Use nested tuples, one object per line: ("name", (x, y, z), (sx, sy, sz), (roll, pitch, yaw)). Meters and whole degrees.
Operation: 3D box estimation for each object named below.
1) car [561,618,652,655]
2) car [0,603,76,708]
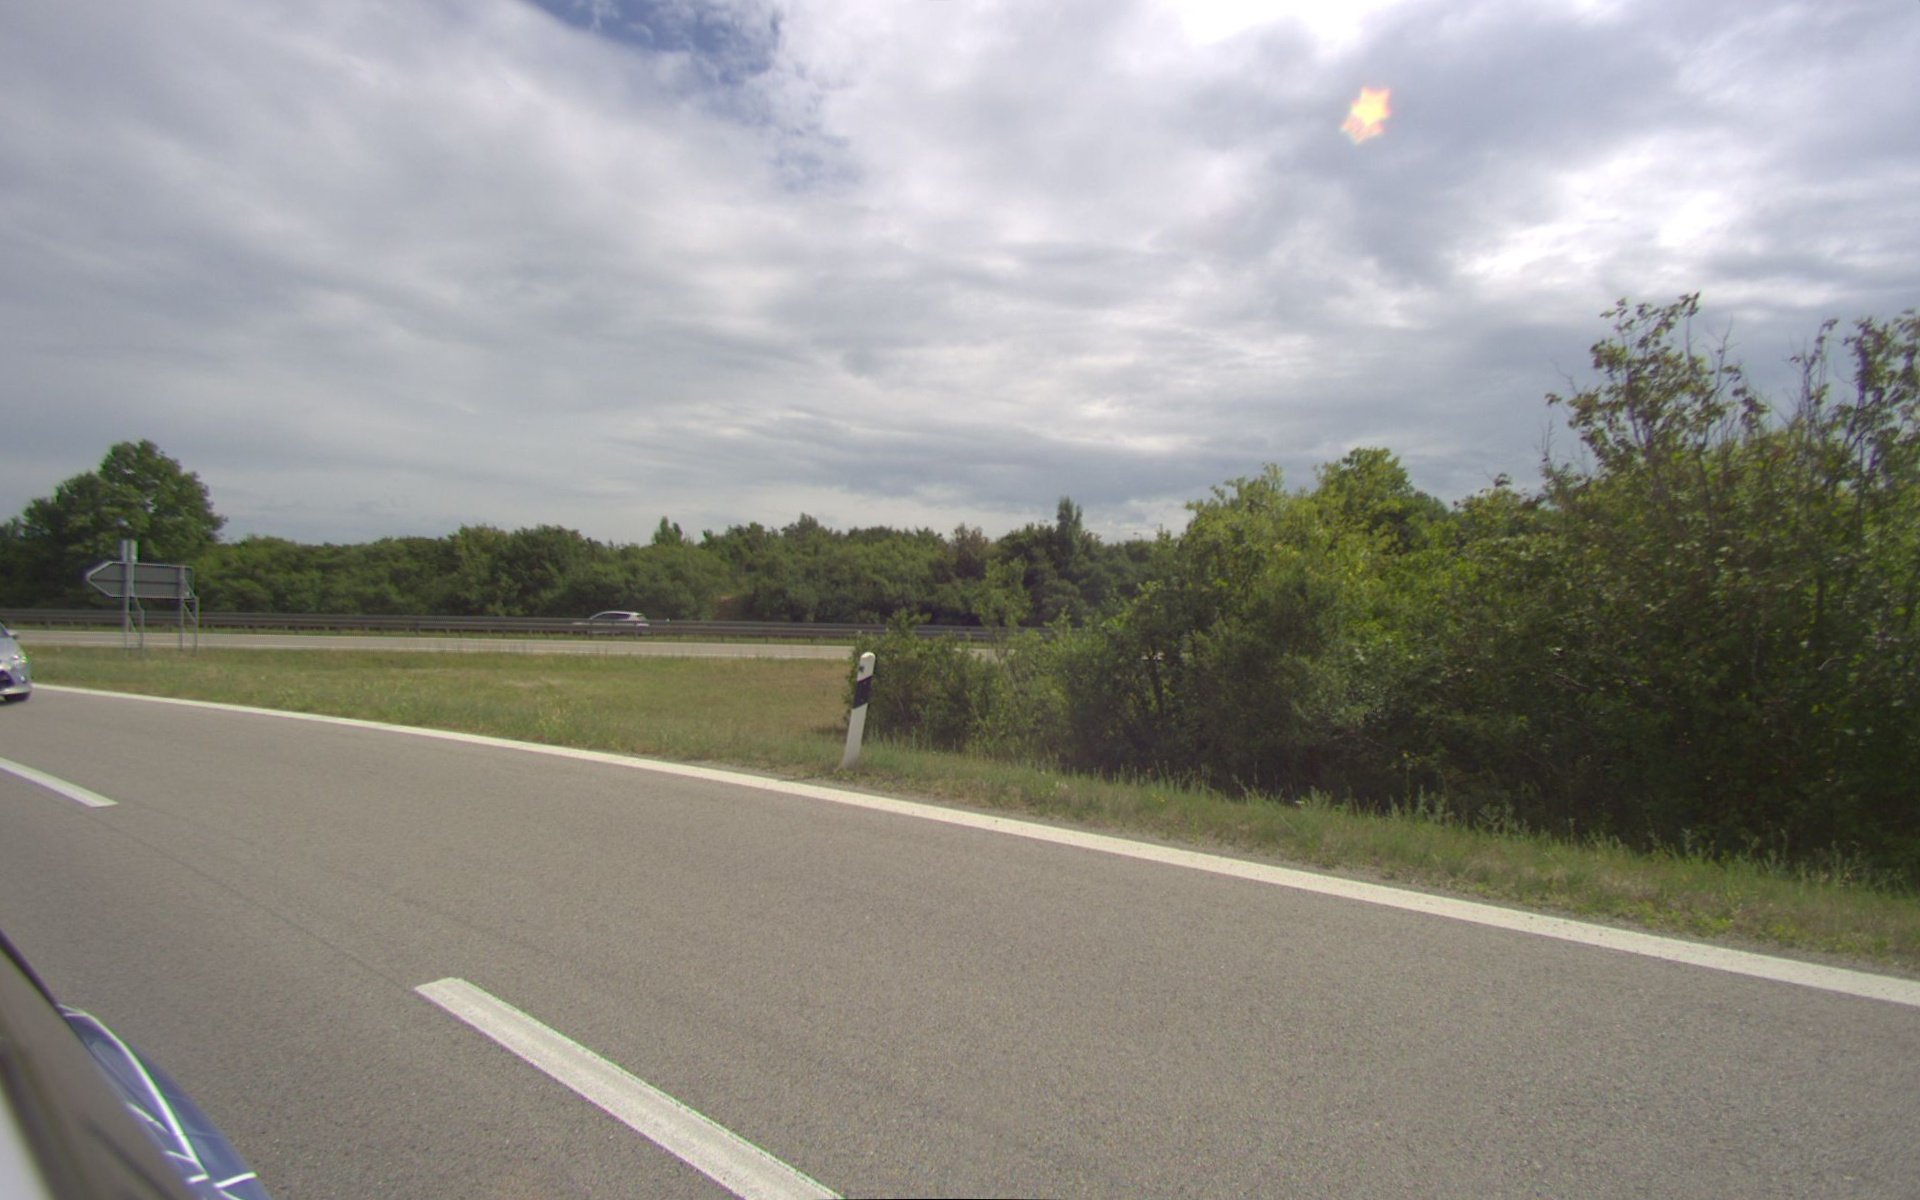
("car", (-18.585, 1.902, 53.294), (4.152, 1.887, 1.842), (-1, 0, 4))
("car", (-16.579, 0.830, 16.279), (4.565, 1.589, 2.009), (0, -1, 28))
